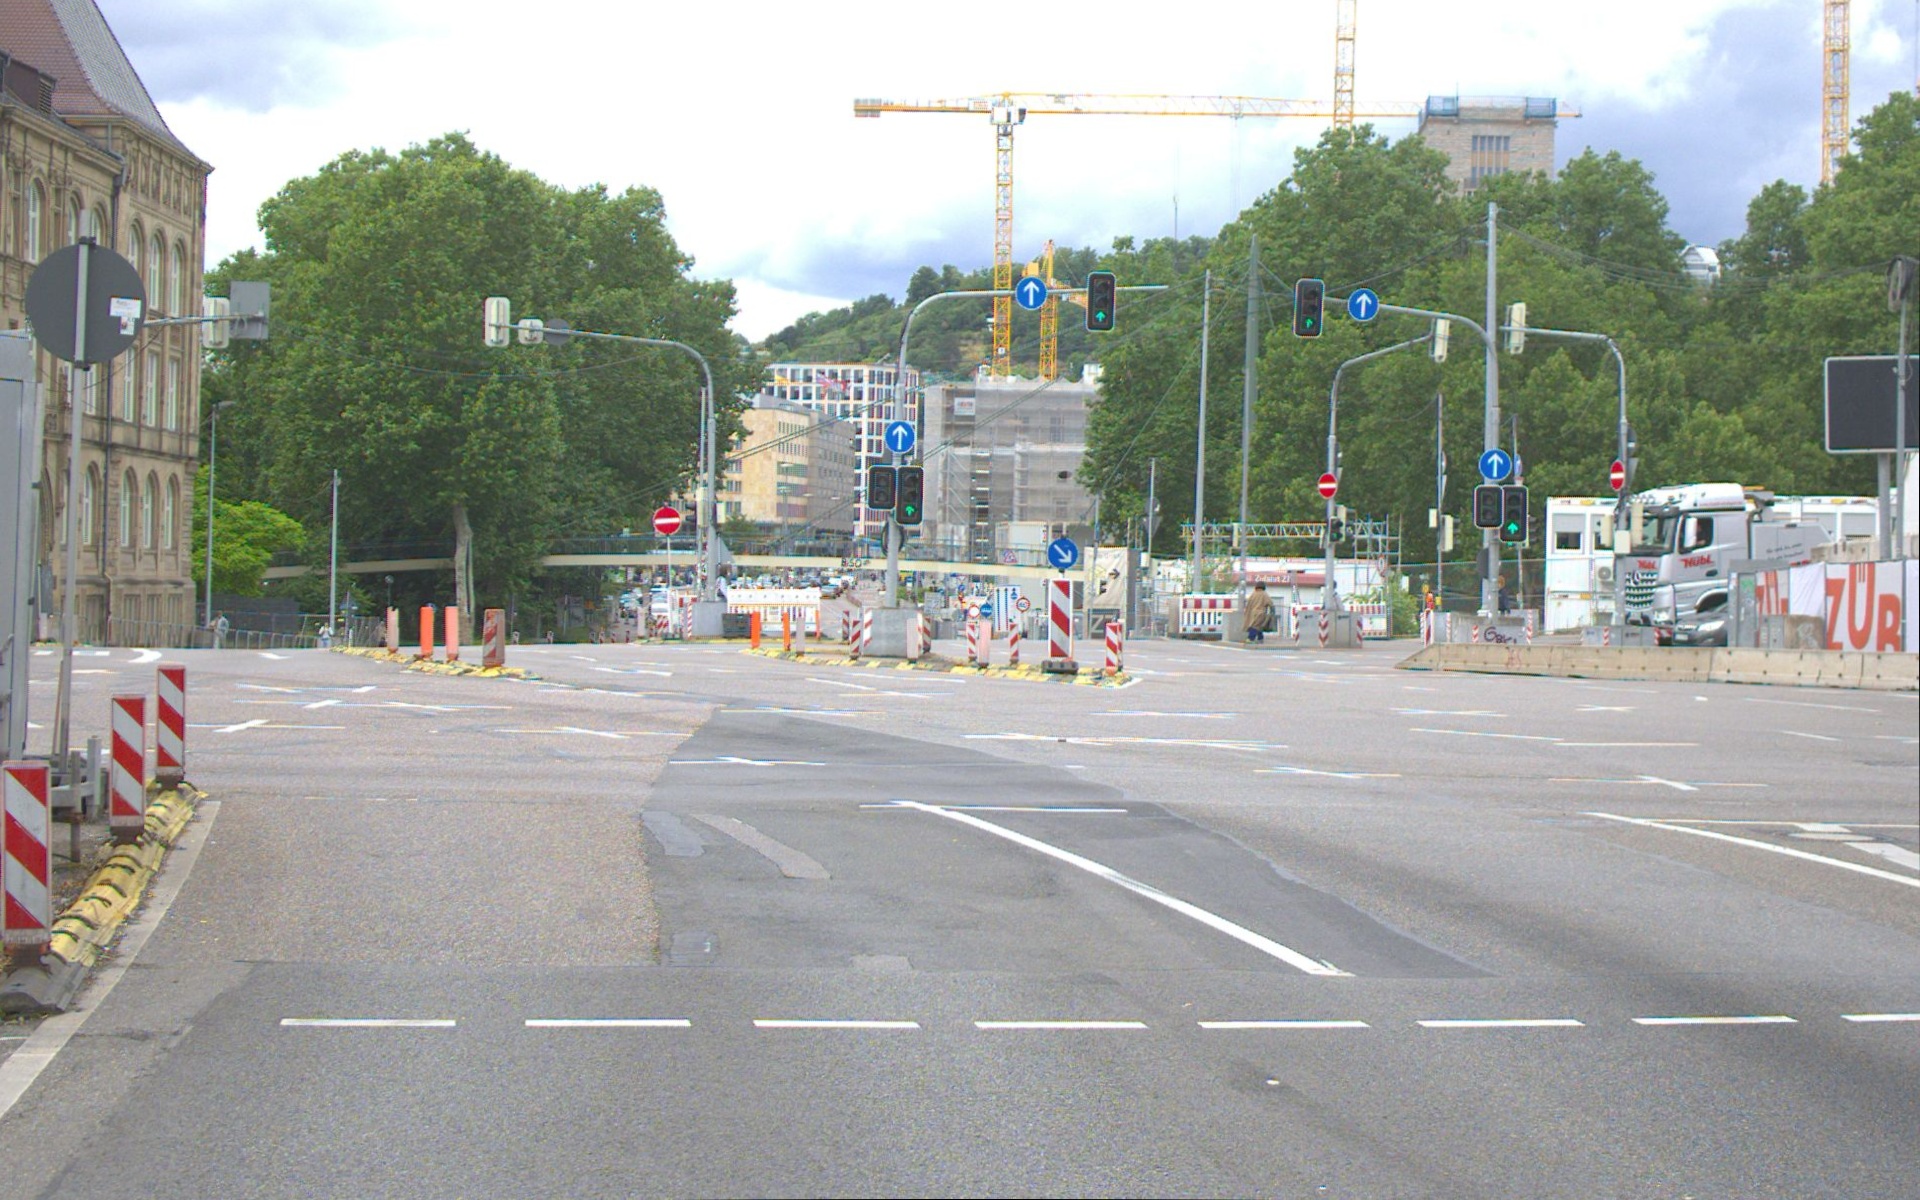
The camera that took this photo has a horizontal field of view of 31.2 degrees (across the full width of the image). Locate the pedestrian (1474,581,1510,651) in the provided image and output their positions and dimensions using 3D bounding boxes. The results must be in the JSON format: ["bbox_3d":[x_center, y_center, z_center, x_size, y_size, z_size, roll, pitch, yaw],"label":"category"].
[{"bbox_3d":[13.041,0.390,84.213,0.622,1.683,0.710,2,1,29],"label":"pedestrian"}]

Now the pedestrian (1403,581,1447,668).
[{"bbox_3d":[9.131,0.476,67.511,0.729,1.683,0.678,1,1,-1],"label":"pedestrian"}]

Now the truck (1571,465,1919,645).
[{"bbox_3d":[21.360,-1.005,82.005,13.022,4.027,3.952,1,1,-20],"label":"truck"}]

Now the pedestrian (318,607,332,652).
[{"bbox_3d":[-28.666,1.313,155.231,0.524,2.007,0.567,1,1,0],"label":"pedestrian"}]

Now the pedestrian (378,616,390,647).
[{"bbox_3d":[-30.277,1.648,180.624,0.536,1.587,0.516,1,1,-4],"label":"pedestrian"}]

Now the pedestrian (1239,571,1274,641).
[{"bbox_3d":[7.230,0.143,83.838,0.729,1.683,0.678,1,1,-1],"label":"pedestrian"}]

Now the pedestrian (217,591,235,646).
[{"bbox_3d":[-27.244,0.675,127.576,0.524,2.007,0.567,1,1,0],"label":"pedestrian"}]
